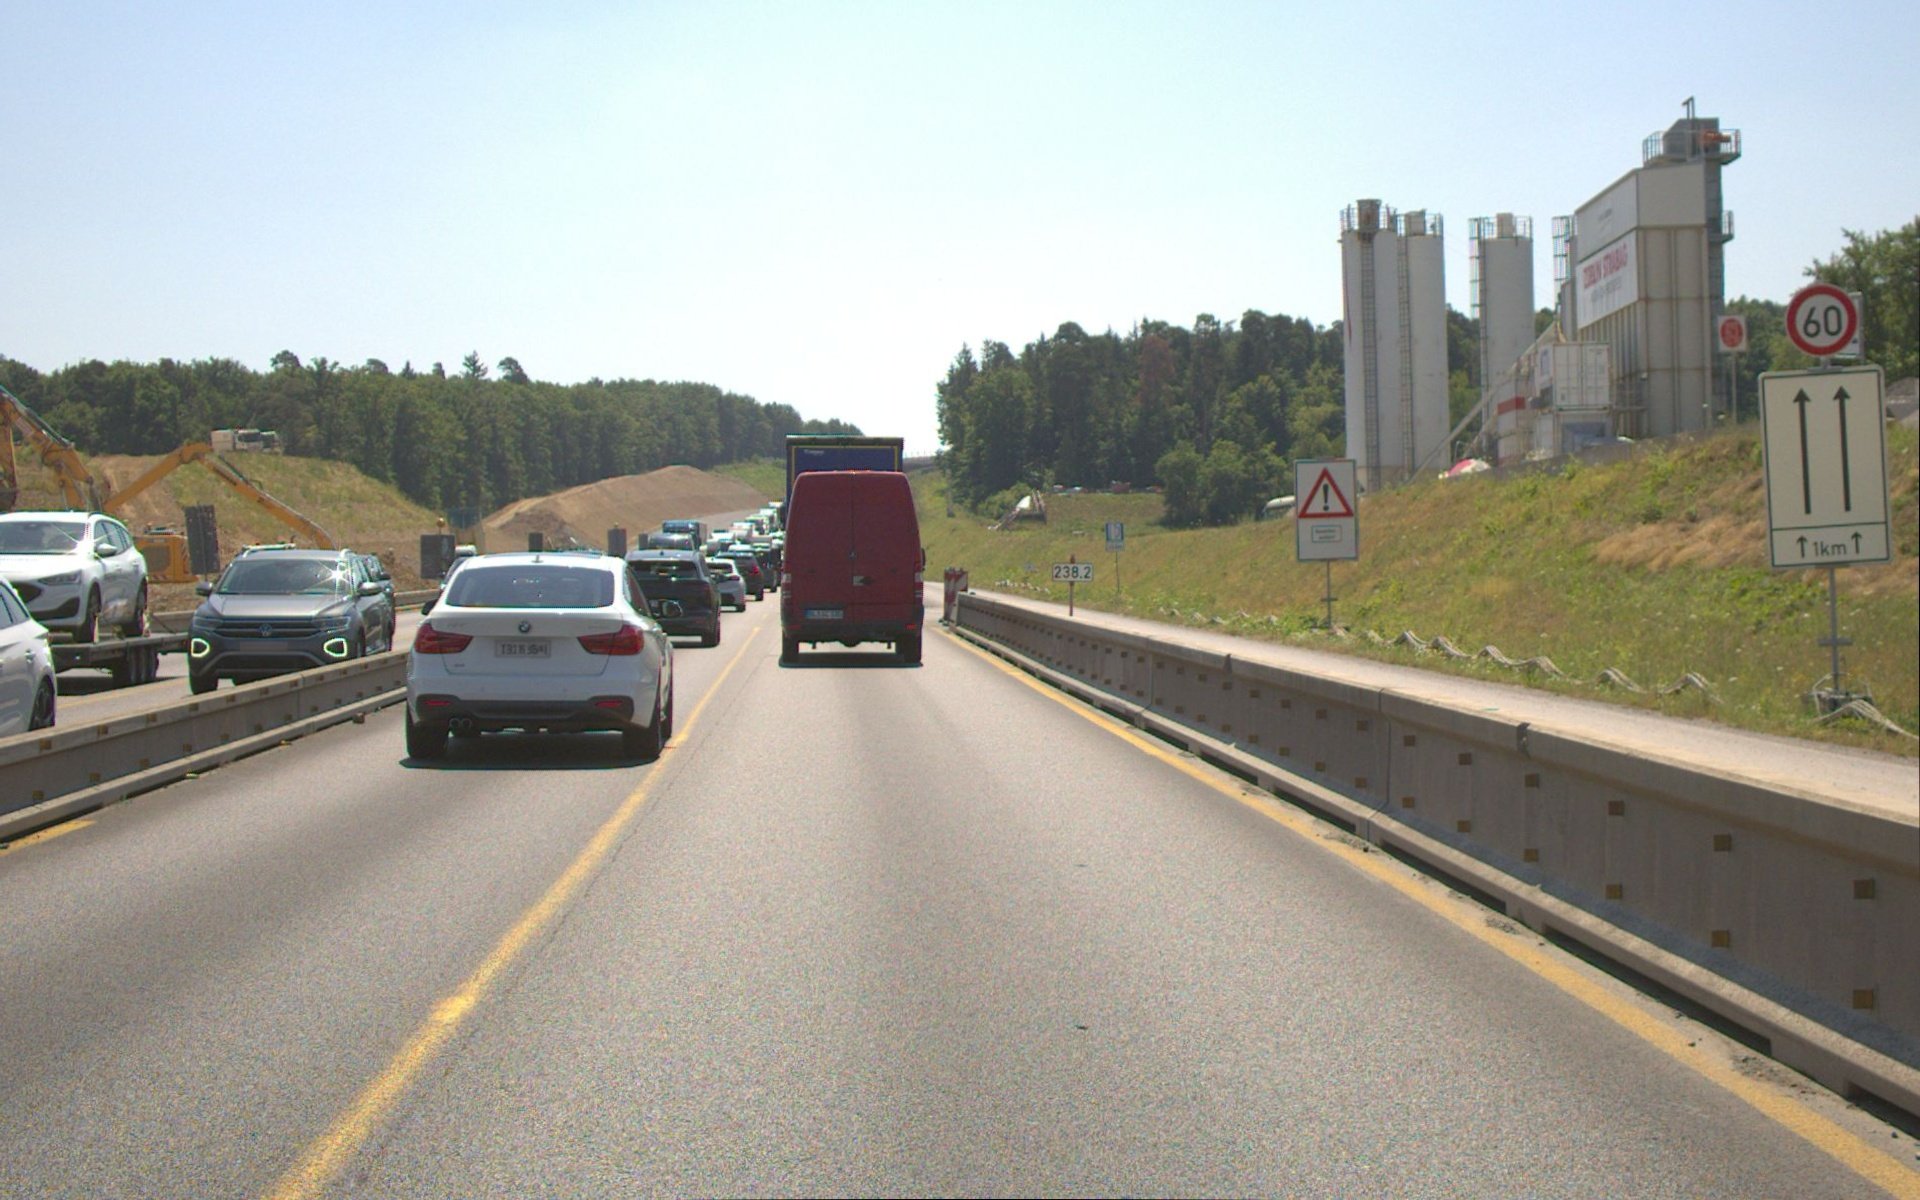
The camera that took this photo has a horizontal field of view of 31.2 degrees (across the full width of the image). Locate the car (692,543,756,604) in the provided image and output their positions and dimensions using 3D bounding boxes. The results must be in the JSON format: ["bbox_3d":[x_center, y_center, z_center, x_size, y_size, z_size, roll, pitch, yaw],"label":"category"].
[{"bbox_3d":[-8.007,-0.910,116.791,1.993,2.007,4.000,-1,1,-2],"label":"car"}]

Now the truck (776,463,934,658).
[{"bbox_3d":[-1.546,-0.596,49.887,2.111,2.624,6.485,-1,1,-2],"label":"truck"}]

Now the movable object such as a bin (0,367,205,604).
[{"bbox_3d":[-29.334,-3.754,114.233,7.637,7.687,3.446,-1,1,-1],"label":"movable object such as a bin"}]

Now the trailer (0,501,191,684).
[{"bbox_3d":[-10.526,-0.133,39.934,2.130,1.975,5.235,-1,1,-2],"label":"trailer"}]

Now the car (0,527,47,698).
[{"bbox_3d":[-10.336,0.132,33.201,1.923,1.673,4.718,0,1,-2],"label":"car"}]

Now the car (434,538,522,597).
[{"bbox_3d":[-12.754,-0.876,91.210,1.860,1.495,4.577,-1,1,-2],"label":"car"}]

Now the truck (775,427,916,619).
[{"bbox_3d":[-2.600,-1.748,78.966,3.015,4.138,8.273,-1,1,-2],"label":"truck"}]

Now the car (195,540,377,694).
[{"bbox_3d":[-7.335,0.144,37.695,1.693,1.574,4.135,-1,1,-8],"label":"car"}]

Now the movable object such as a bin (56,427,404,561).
[{"bbox_3d":[-40.860,-5.936,193.125,18.709,7.206,3.616,-1,1,-4],"label":"movable object such as a bin"}]

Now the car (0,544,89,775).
[{"bbox_3d":[-6.969,0.385,21.817,1.816,1.450,4.635,-1,1,-2],"label":"car"}]

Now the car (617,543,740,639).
[{"bbox_3d":[-4.675,-0.173,57.556,1.795,1.529,3.931,-1,1,-1],"label":"car"}]

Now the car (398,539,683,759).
[{"bbox_3d":[-3.128,0.309,26.487,1.795,1.529,5.074,0,1,-3],"label":"car"}]
